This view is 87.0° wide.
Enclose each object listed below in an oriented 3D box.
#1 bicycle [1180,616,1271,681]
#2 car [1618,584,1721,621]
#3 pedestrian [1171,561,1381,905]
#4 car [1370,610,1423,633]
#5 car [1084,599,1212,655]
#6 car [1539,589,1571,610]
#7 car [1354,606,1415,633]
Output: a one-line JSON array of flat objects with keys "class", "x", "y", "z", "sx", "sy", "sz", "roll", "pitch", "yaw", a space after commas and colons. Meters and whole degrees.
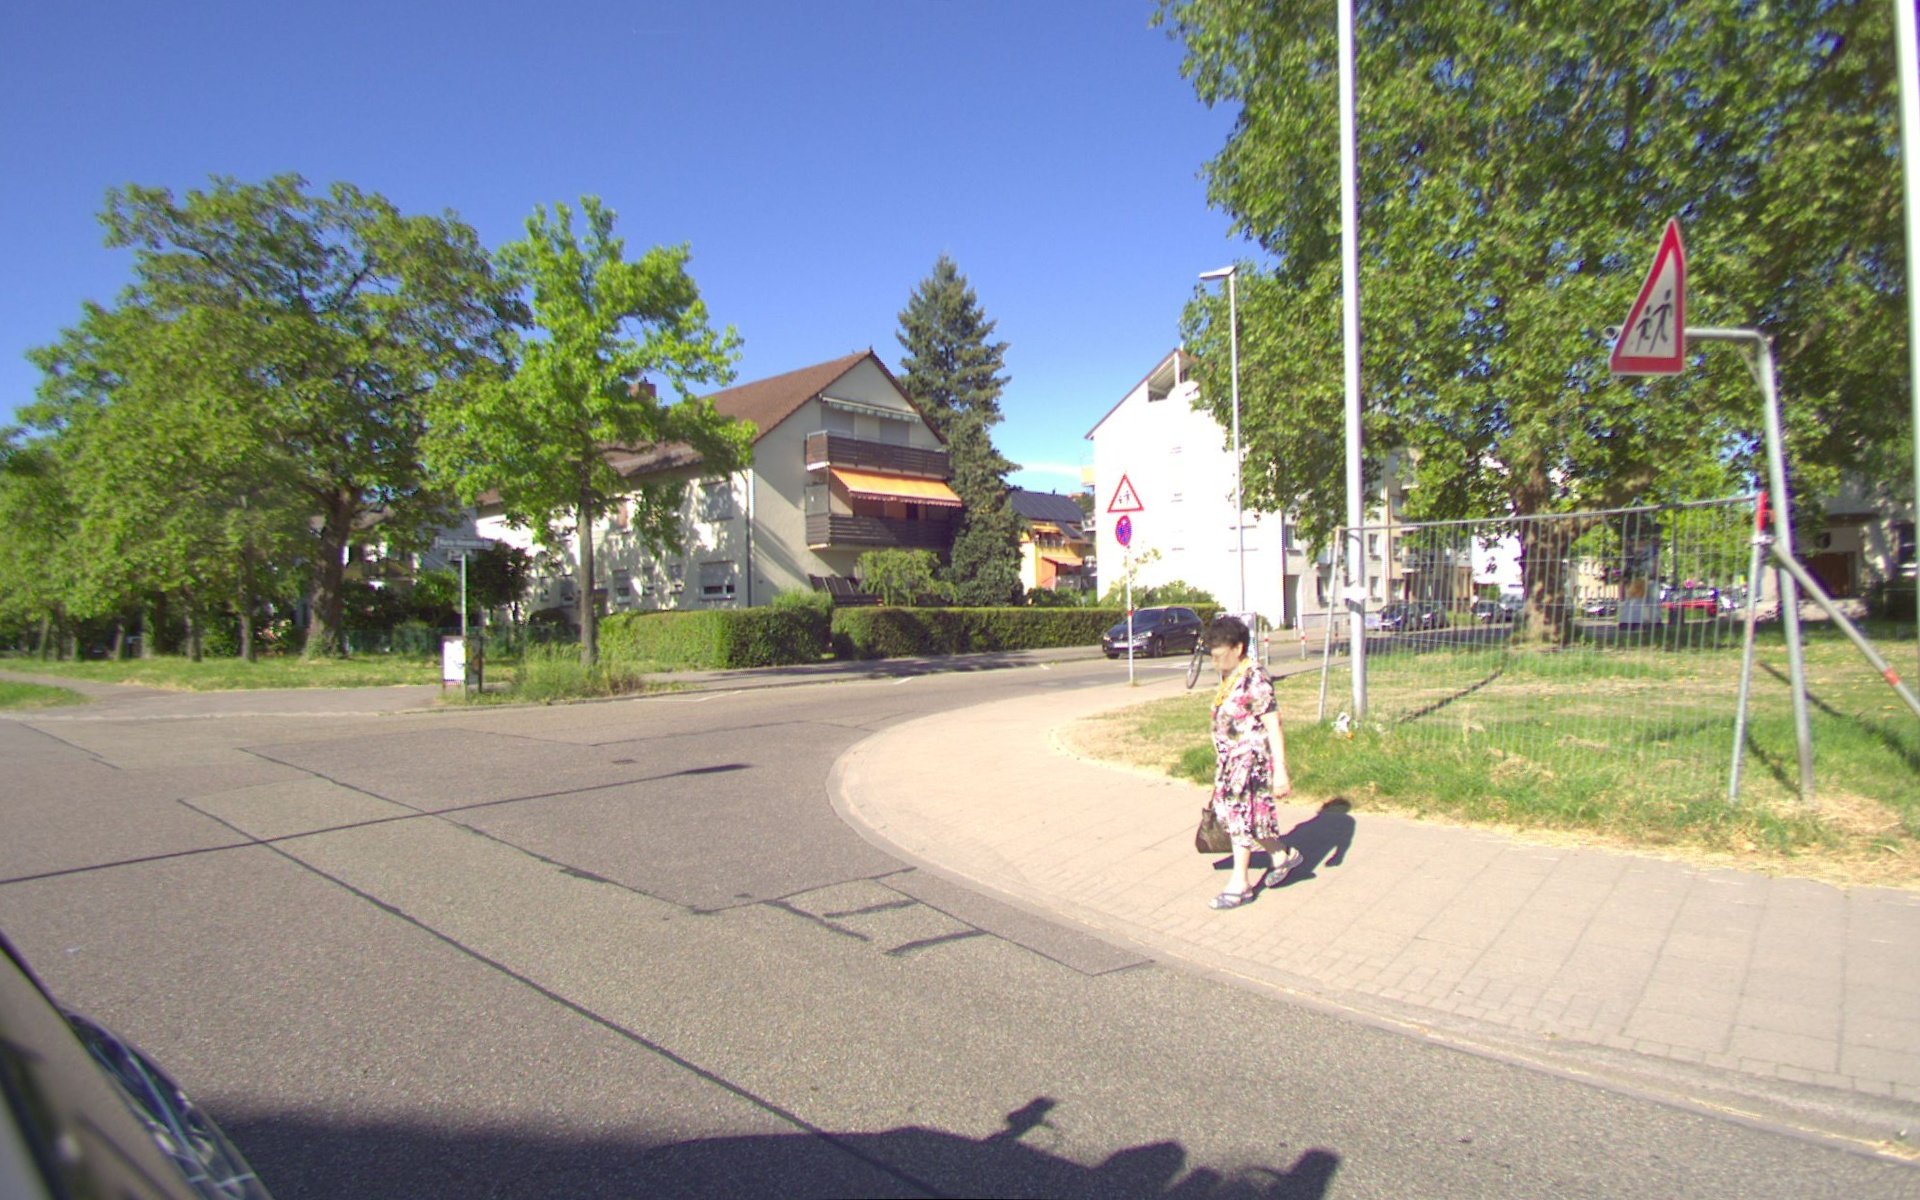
[{"class": "bicycle", "x": 4.541, "y": 0.818, "z": 17.283, "sx": 1.574, "sy": 0.992, "sz": 0.501, "roll": -2, "pitch": -3, "yaw": -32}, {"class": "car", "x": 41.516, "y": 0.178, "z": 59.263, "sx": 4.681, "sy": 2.029, "sz": 1.972, "roll": -2, "pitch": -1, "yaw": 43}, {"class": "pedestrian", "x": 1.566, "y": 0.636, "z": 5.135, "sx": 0.826, "sy": 1.598, "sz": 0.630, "roll": -4, "pitch": 3, "yaw": 8}, {"class": "car", "x": 23.727, "y": 1.155, "z": 54.948, "sx": 1.538, "sy": 1.202, "sz": 3.946, "roll": -2, "pitch": -2, "yaw": 41}, {"class": "car", "x": 5.904, "y": 0.806, "z": 31.494, "sx": 2.114, "sy": 1.469, "sz": 4.054, "roll": -5, "pitch": -2, "yaw": 40}, {"class": "car", "x": 50.462, "y": -0.035, "z": 85.825, "sx": 1.996, "sy": 1.684, "sz": 3.952, "roll": -2, "pitch": -1, "yaw": 35}, {"class": "car", "x": 20.218, "y": 0.909, "z": 48.131, "sx": 1.538, "sy": 1.202, "sz": 3.946, "roll": -2, "pitch": -2, "yaw": 41}]
